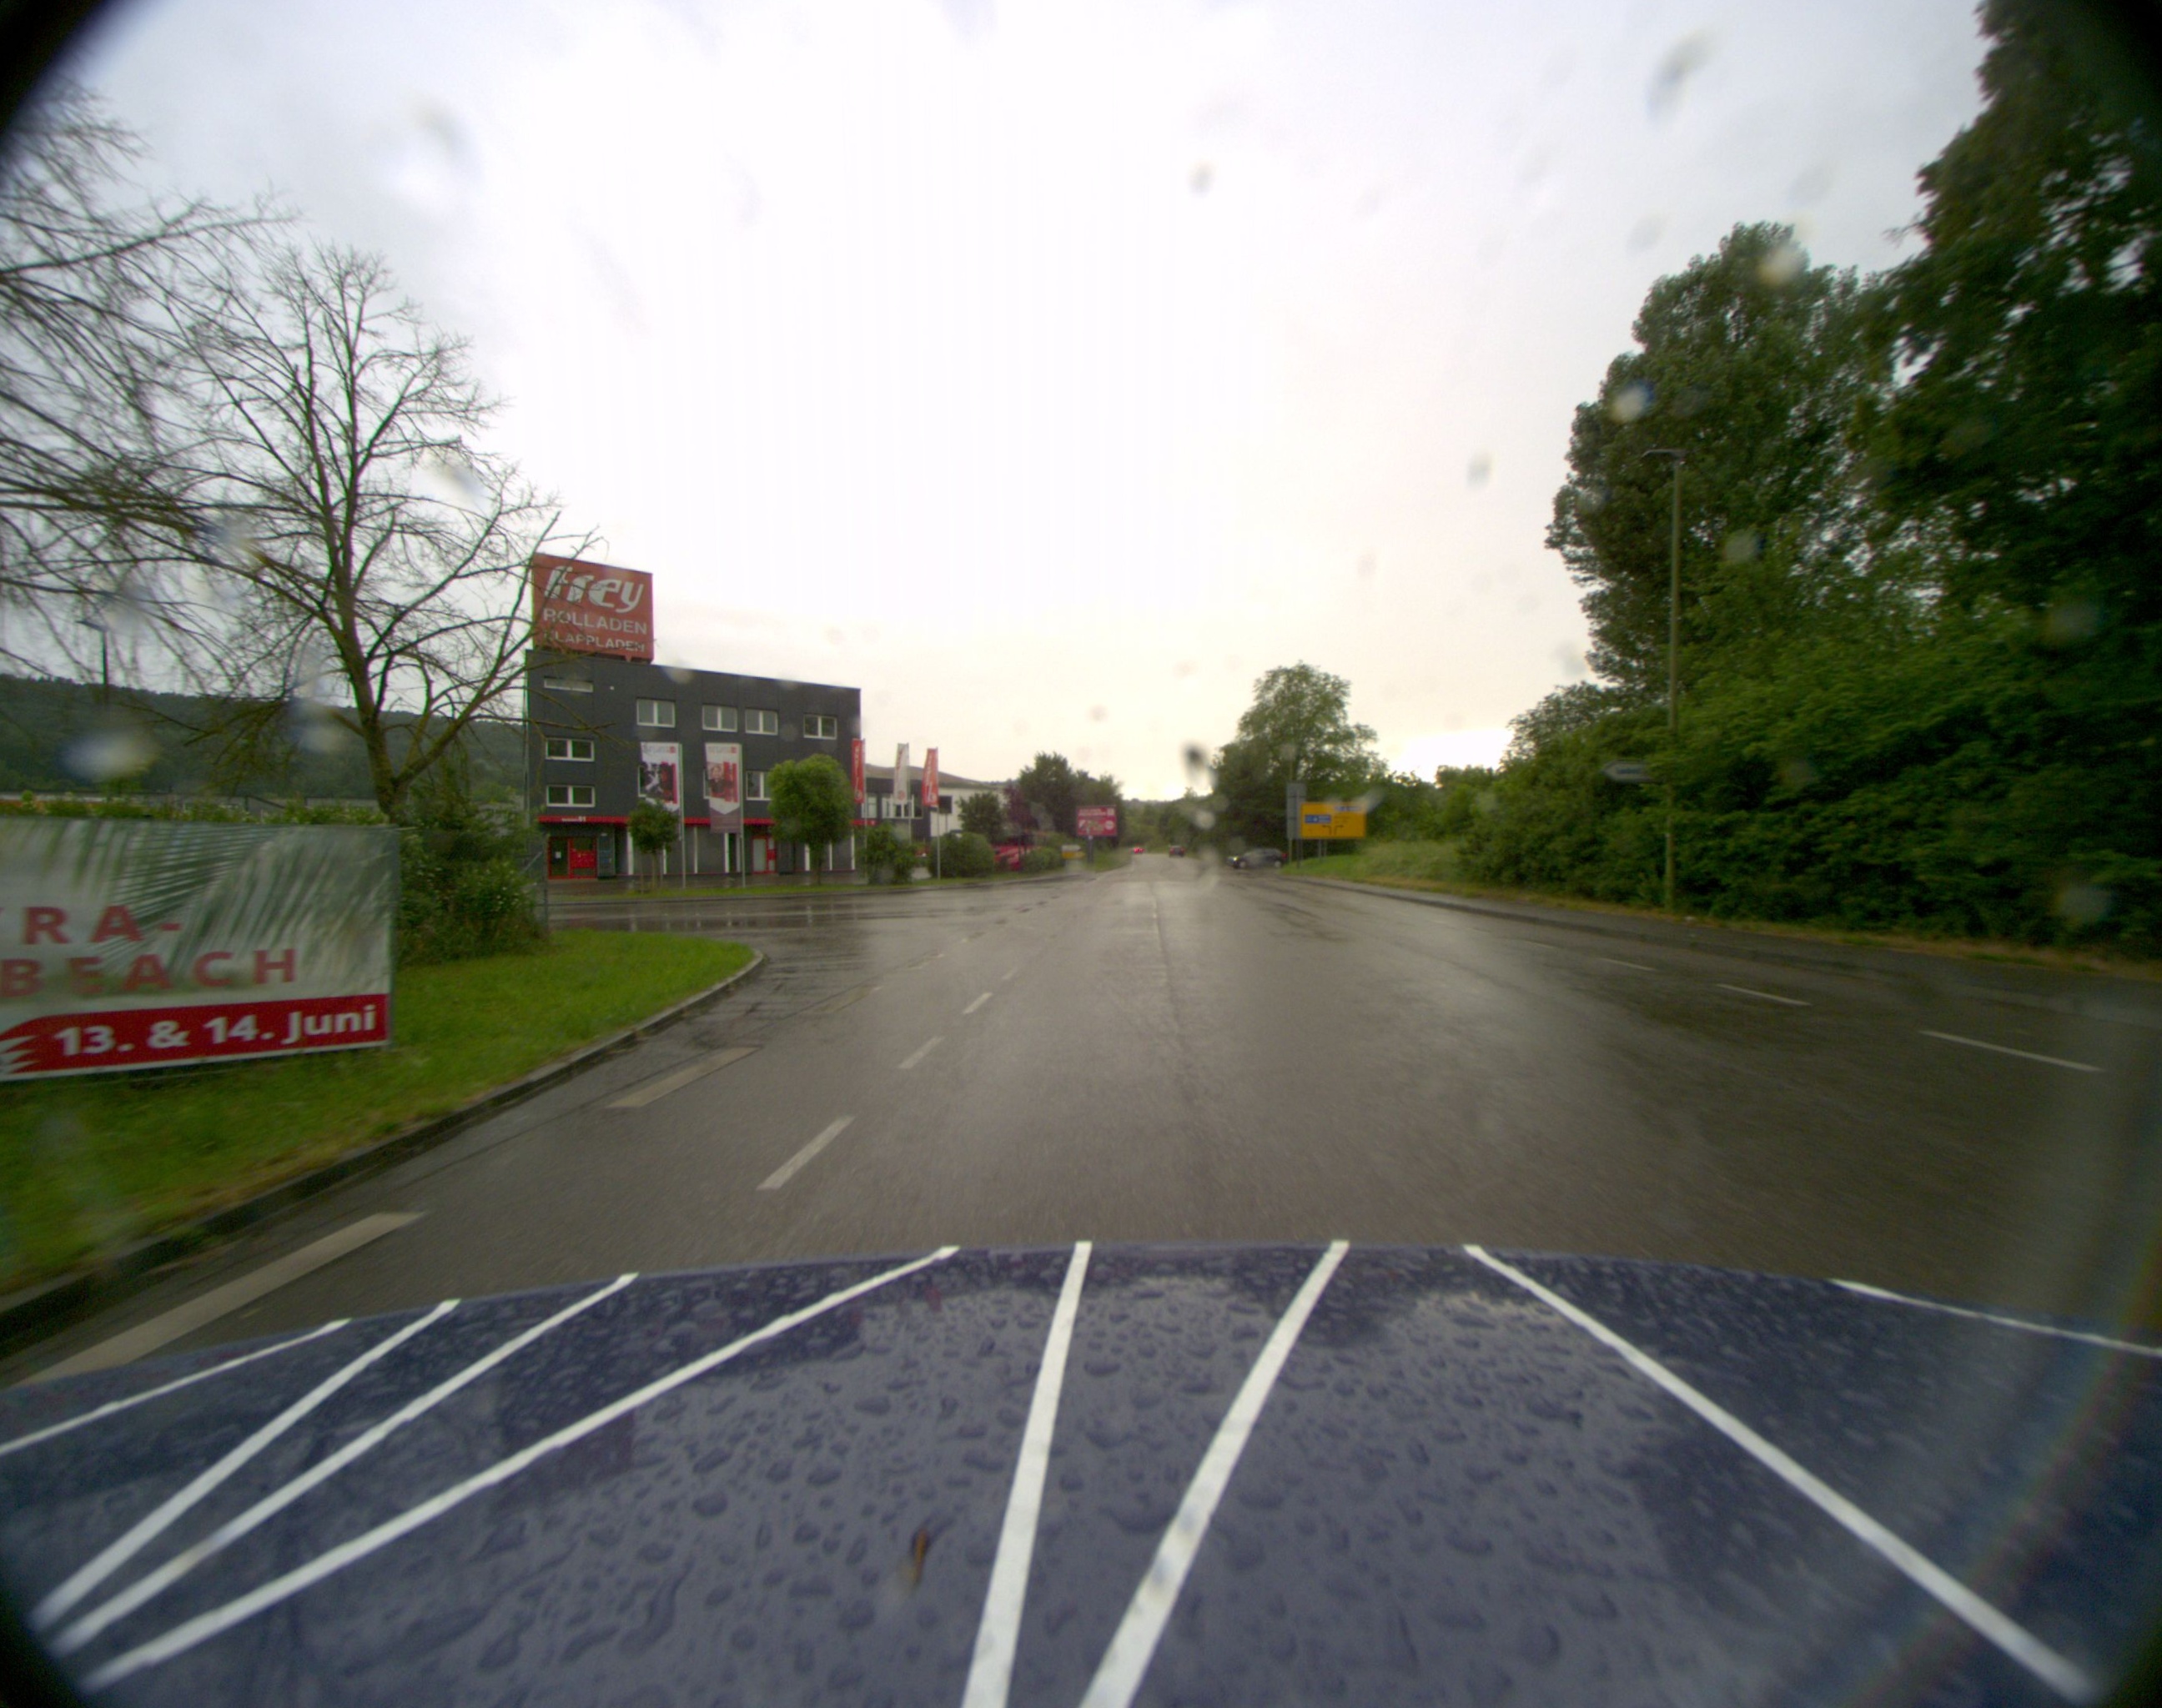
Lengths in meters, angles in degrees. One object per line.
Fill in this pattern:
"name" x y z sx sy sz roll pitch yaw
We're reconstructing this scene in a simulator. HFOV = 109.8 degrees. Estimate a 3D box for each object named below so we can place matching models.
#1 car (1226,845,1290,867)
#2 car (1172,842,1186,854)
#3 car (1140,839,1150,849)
"car" 12.915 0.160 55.585 4.119 1.481 1.856 -1 1 -5
"car" 12.759 -0.848 99.124 1.833 1.515 4.002 -1 1 7
"car" 13.880 -2.156 165.638 1.998 2.002 3.999 -1 2 2
